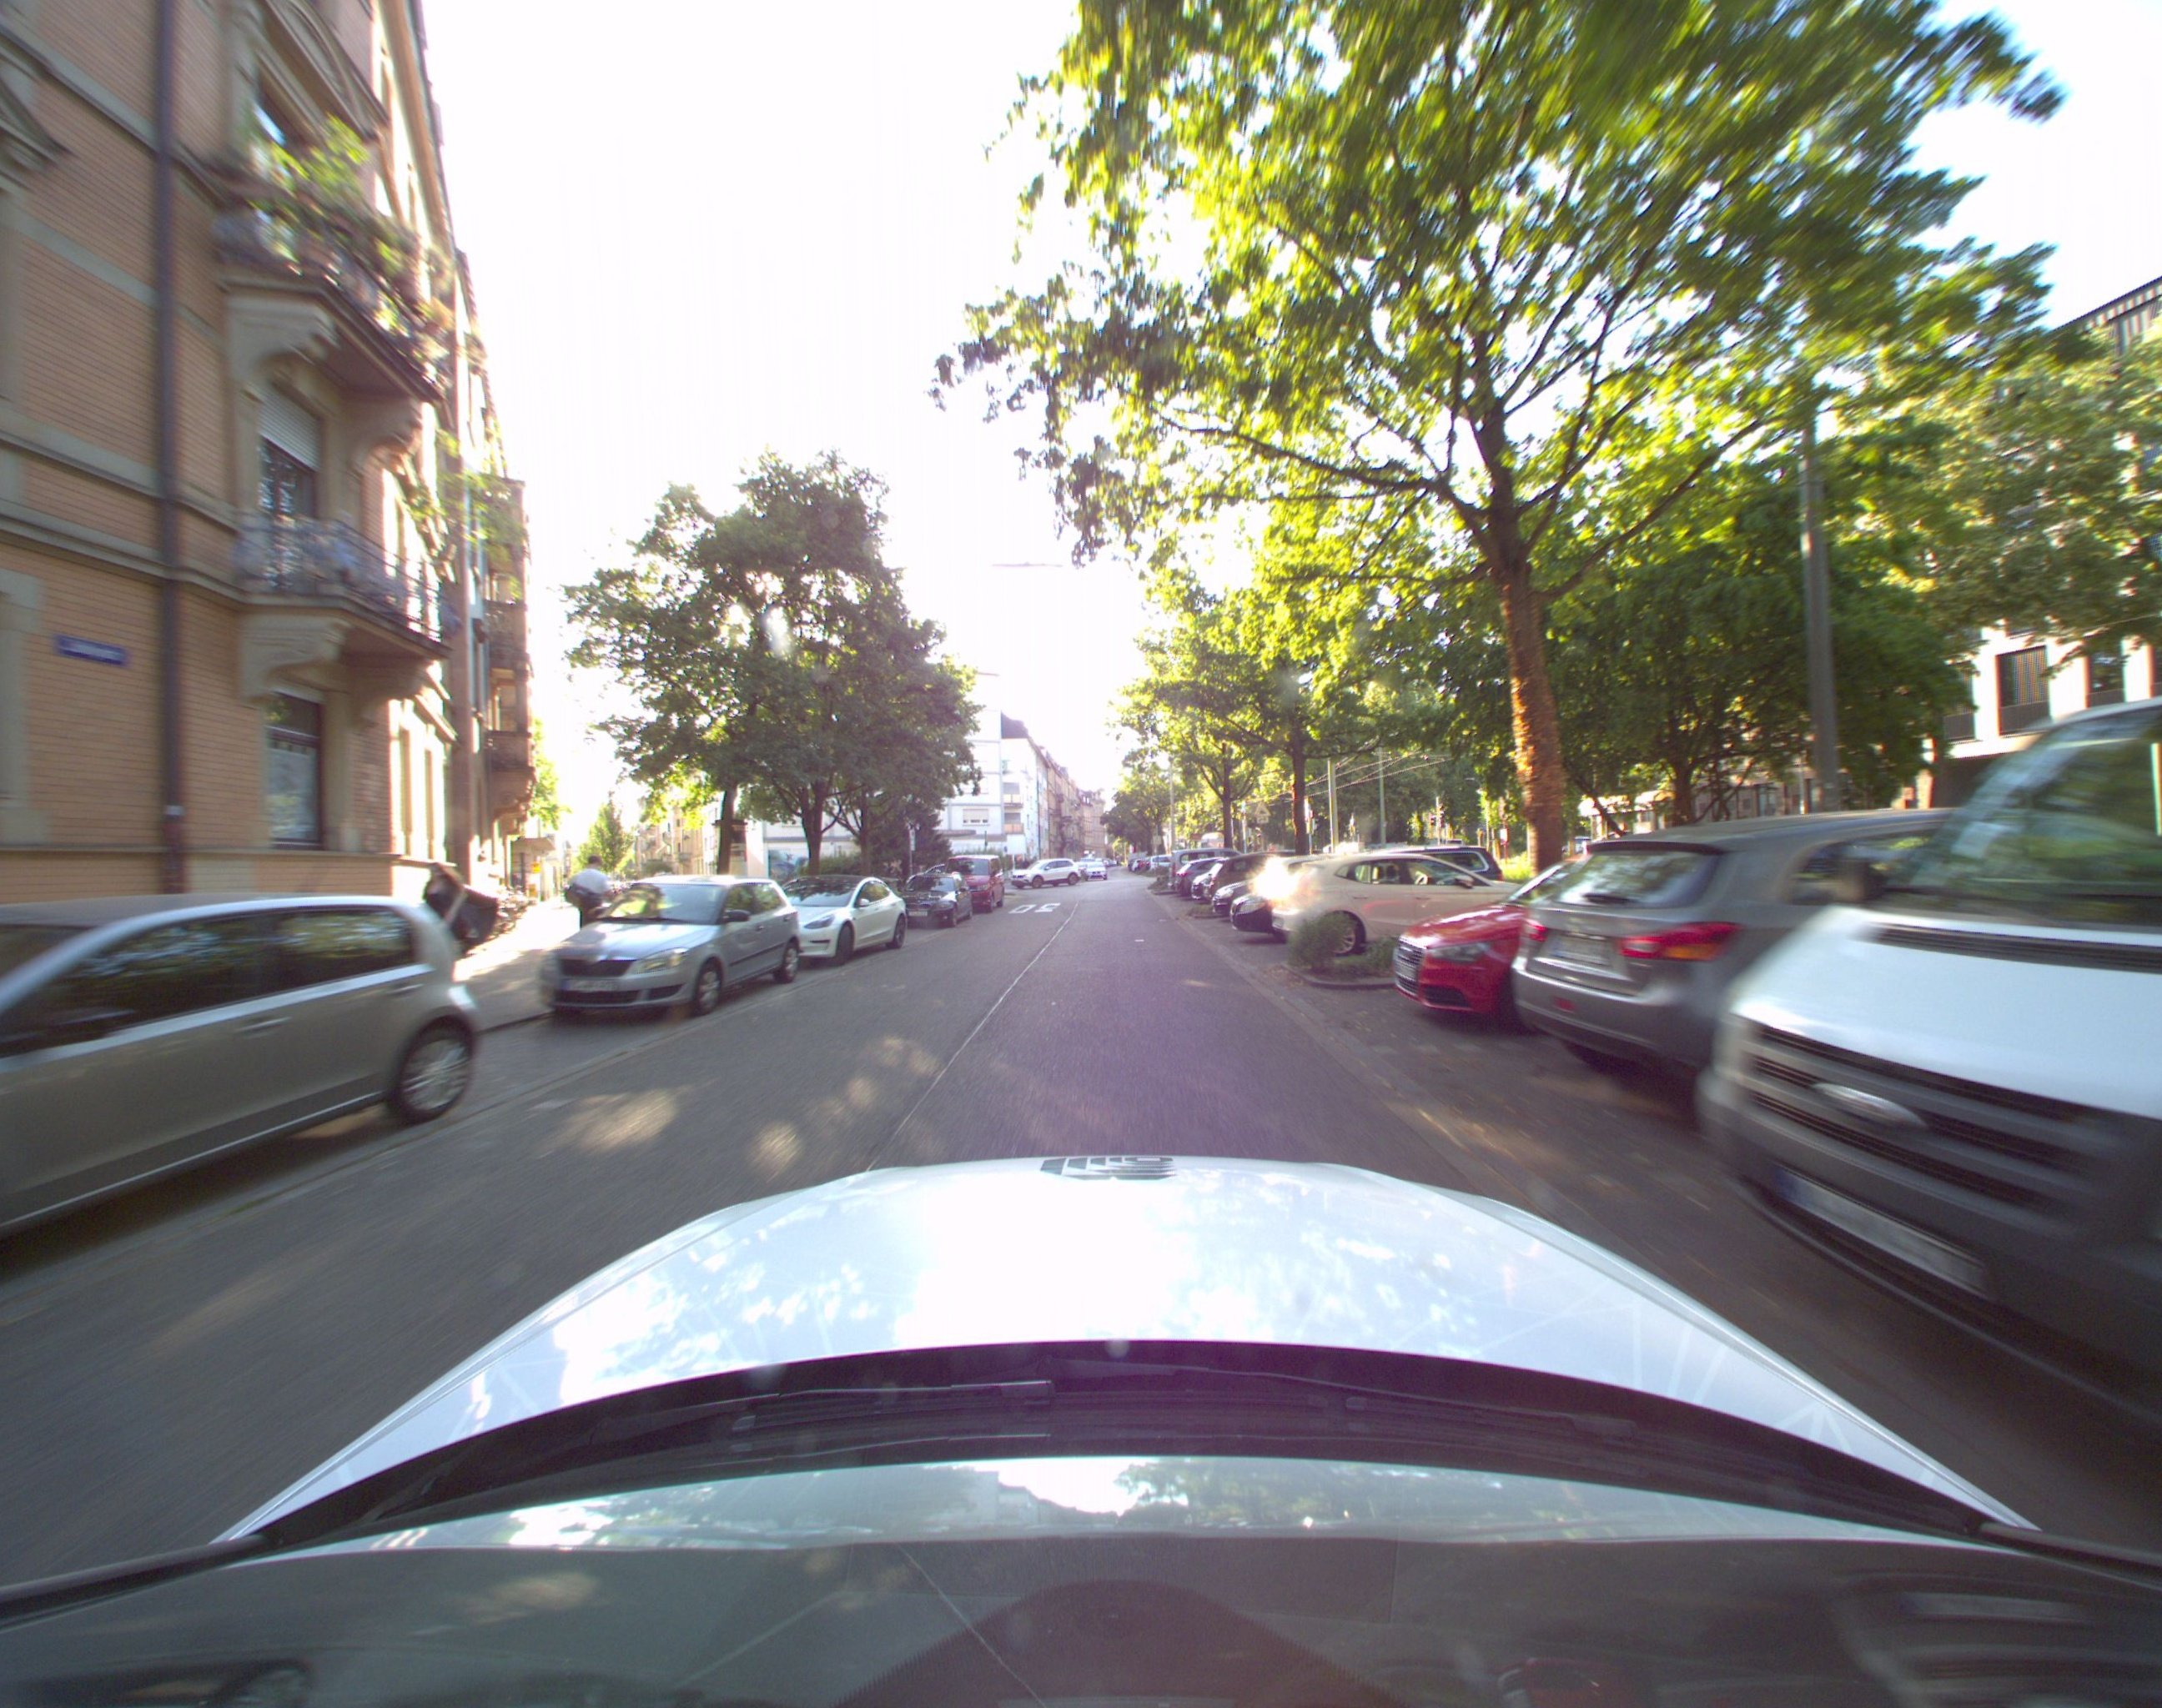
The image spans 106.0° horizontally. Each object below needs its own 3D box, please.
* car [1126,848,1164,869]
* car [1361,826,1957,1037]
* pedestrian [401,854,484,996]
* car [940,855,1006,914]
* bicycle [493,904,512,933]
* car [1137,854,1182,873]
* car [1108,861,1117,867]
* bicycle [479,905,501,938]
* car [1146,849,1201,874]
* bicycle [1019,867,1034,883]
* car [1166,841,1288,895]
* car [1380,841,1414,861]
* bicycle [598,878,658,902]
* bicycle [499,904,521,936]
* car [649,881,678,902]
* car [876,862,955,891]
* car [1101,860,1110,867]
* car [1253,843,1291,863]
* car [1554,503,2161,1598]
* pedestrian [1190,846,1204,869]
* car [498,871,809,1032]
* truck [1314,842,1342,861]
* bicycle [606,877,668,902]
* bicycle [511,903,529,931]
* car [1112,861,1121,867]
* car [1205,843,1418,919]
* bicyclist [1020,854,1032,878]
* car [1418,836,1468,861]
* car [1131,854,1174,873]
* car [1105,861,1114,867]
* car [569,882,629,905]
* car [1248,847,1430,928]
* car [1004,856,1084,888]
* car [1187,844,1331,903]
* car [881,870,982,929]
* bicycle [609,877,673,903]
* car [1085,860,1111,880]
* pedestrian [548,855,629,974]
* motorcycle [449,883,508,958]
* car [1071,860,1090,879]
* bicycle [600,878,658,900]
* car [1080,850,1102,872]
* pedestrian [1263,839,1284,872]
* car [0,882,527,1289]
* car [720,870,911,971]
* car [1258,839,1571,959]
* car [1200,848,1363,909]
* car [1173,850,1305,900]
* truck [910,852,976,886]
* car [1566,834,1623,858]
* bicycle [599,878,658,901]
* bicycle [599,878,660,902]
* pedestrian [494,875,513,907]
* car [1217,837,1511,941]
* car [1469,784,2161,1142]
[{"bbox_3d":[9.836,0.744,125.359,5.201,2.571,2.288,-7,-1,30],"label":"car"},{"bbox_3d":[4.766,0.612,7.177,3.971,1.423,1.685,-3,-1,2],"label":"car"},{"bbox_3d":[-8.096,0.866,10.356,0.677,1.718,0.716,0,-1,-26],"label":"pedestrian"},{"bbox_3d":[-3.763,1.004,29.090,1.771,1.934,4.770,-1,0,-1],"label":"car"},{"bbox_3d":[-16.008,1.774,22.549,0.370,0.732,1.494,-2,-1,-34],"label":"bicycle"},{"bbox_3d":[8.112,1.018,83.923,4.188,1.458,1.617,-7,-1,26],"label":"car"},{"bbox_3d":[7.837,2.561,205.218,1.701,1.446,4.010,-4,0,9],"label":"car"},{"bbox_3d":[-14.758,1.671,20.342,0.370,0.732,1.494,-2,-1,-34],"label":"bicycle"},{"bbox_3d":[7.841,0.667,69.012,4.186,1.652,1.618,-7,-1,33],"label":"car"},{"bbox_3d":[-3.843,1.434,57.337,0.709,1.051,2.349,-3,-1,3],"label":"bicycle"},{"bbox_3d":[5.743,0.563,32.509,4.518,1.914,1.952,-3,-2,4],"label":"car"},{"bbox_3d":[31.327,-0.253,80.907,1.568,1.903,3.897,-3,-1,-3],"label":"car"},{"bbox_3d":[-29.638,2.334,53.322,3.389,1.445,0.873,0,-2,-30],"label":"bicycle"},{"bbox_3d":[-14.471,1.666,20.653,0.417,0.732,1.494,-2,-1,-34],"label":"bicycle"},{"bbox_3d":[-38.584,3.411,75.176,2.007,1.784,3.960,-3,-1,-31],"label":"car"},{"bbox_3d":[-10.048,1.361,49.583,4.262,1.450,1.926,-3,0,4],"label":"car"},{"bbox_3d":[5.417,2.117,181.507,1.702,1.446,4.005,-4,0,5],"label":"car"},{"bbox_3d":[24.894,-0.075,105.980,4.442,2.476,1.831,0,-2,33],"label":"car"},{"bbox_3d":[4.437,0.255,2.325,4.826,2.038,2.156,-3,-1,2],"label":"car"},{"bbox_3d":[10.049,0.313,70.733,0.840,1.910,0.843,-3,-1,33],"label":"pedestrian"},{"bbox_3d":[-4.796,0.988,9.849,1.678,1.475,3.882,-1,0,0],"label":"car"},{"bbox_3d":[31.616,-0.298,104.441,2.357,2.352,4.386,-3,-1,2],"label":"truck"},{"bbox_3d":[-28.246,2.232,51.832,3.390,1.445,0.873,-1,-1,-30],"label":"bicycle"},{"bbox_3d":[-16.055,1.782,23.328,0.370,0.732,1.494,-2,-1,-34],"label":"bicycle"},{"bbox_3d":[9.117,2.494,210.081,1.700,1.446,4.012,-4,0,10],"label":"car"},{"bbox_3d":[5.528,0.664,20.059,4.679,1.572,2.002,-3,-1,4],"label":"car"},{"bbox_3d":[-3.878,0.824,57.313,0.709,1.617,0.724,-3,-1,2],"label":"bicyclist"},{"bbox_3d":[31.883,-0.472,71.826,1.942,2.003,4.649,-3,-1,-6],"label":"car"},{"bbox_3d":[7.842,1.058,89.441,4.186,1.651,1.870,-7,-1,38],"label":"car"},{"bbox_3d":[6.937,2.495,199.847,1.702,1.446,4.008,-4,0,7],"label":"car"},{"bbox_3d":[-38.118,3.102,64.500,4.011,1.558,1.729,-2,-1,-29],"label":"car"},{"bbox_3d":[5.438,0.692,17.511,3.383,1.514,1.721,-3,0,4],"label":"car"},{"bbox_3d":[-2.130,1.046,48.220,4.559,1.647,1.919,-2,-1,-44],"label":"car"},{"bbox_3d":[5.856,0.662,27.194,4.415,1.691,1.952,-3,-2,4],"label":"car"},{"bbox_3d":[-4.123,1.217,23.149,1.768,1.434,4.275,-1,0,4],"label":"car"},{"bbox_3d":[-26.902,2.209,49.831,3.390,1.445,0.873,-1,-1,-30],"label":"bicycle"},{"bbox_3d":[1.318,1.260,64.687,1.706,1.446,3.996,-4,0,-2],"label":"car"},{"bbox_3d":[-7.401,0.877,12.273,0.671,1.718,0.911,0,-1,-1],"label":"pedestrian"},{"bbox_3d":[-12.099,1.294,16.406,0.813,1.353,1.879,-3,0,-33],"label":"motorcycle"},{"bbox_3d":[-0.048,1.450,77.858,1.705,1.673,3.999,-4,0,0],"label":"car"},{"bbox_3d":[-30.449,2.353,54.901,3.389,1.445,0.873,0,-2,-30],"label":"bicycle"},{"bbox_3d":[1.494,0.981,118.974,2.540,2.887,5.488,-4,0,5],"label":"car"},{"bbox_3d":[11.430,0.071,48.409,0.899,1.918,1.151,-3,0,2],"label":"pedestrian"},{"bbox_3d":[-4.947,0.942,4.074,1.677,1.475,3.711,-1,0,3],"label":"car"},{"bbox_3d":[-4.556,1.074,14.724,1.768,1.475,4.275,-1,0,4],"label":"car"},{"bbox_3d":[4.832,0.634,12.233,3.971,1.460,1.685,-3,-1,2],"label":"car"},{"bbox_3d":[6.015,0.746,24.873,4.518,1.572,1.952,-3,-1,4],"label":"car"},{"bbox_3d":[5.692,0.757,29.819,4.518,1.572,1.952,-3,-1,4],"label":"car"},{"bbox_3d":[-11.594,1.255,68.380,4.991,2.535,1.979,-2,-1,-33],"label":"truck"},{"bbox_3d":[37.082,-0.602,58.769,4.202,1.656,1.902,-2,2,-33],"label":"car"},{"bbox_3d":[-30.025,2.343,54.090,3.389,1.445,0.873,0,-2,-30],"label":"bicycle"},{"bbox_3d":[-29.109,2.324,52.532,3.389,1.445,0.873,0,-2,-30],"label":"bicycle"},{"bbox_3d":[-35.674,2.288,50.324,0.855,1.875,0.882,-2,-1,-31],"label":"pedestrian"},{"bbox_3d":[4.983,0.625,14.938,4.679,1.572,2.002,-3,-1,4],"label":"car"},{"bbox_3d":[4.730,0.485,4.821,3.974,1.580,1.765,-3,-1,0],"label":"car"}]
